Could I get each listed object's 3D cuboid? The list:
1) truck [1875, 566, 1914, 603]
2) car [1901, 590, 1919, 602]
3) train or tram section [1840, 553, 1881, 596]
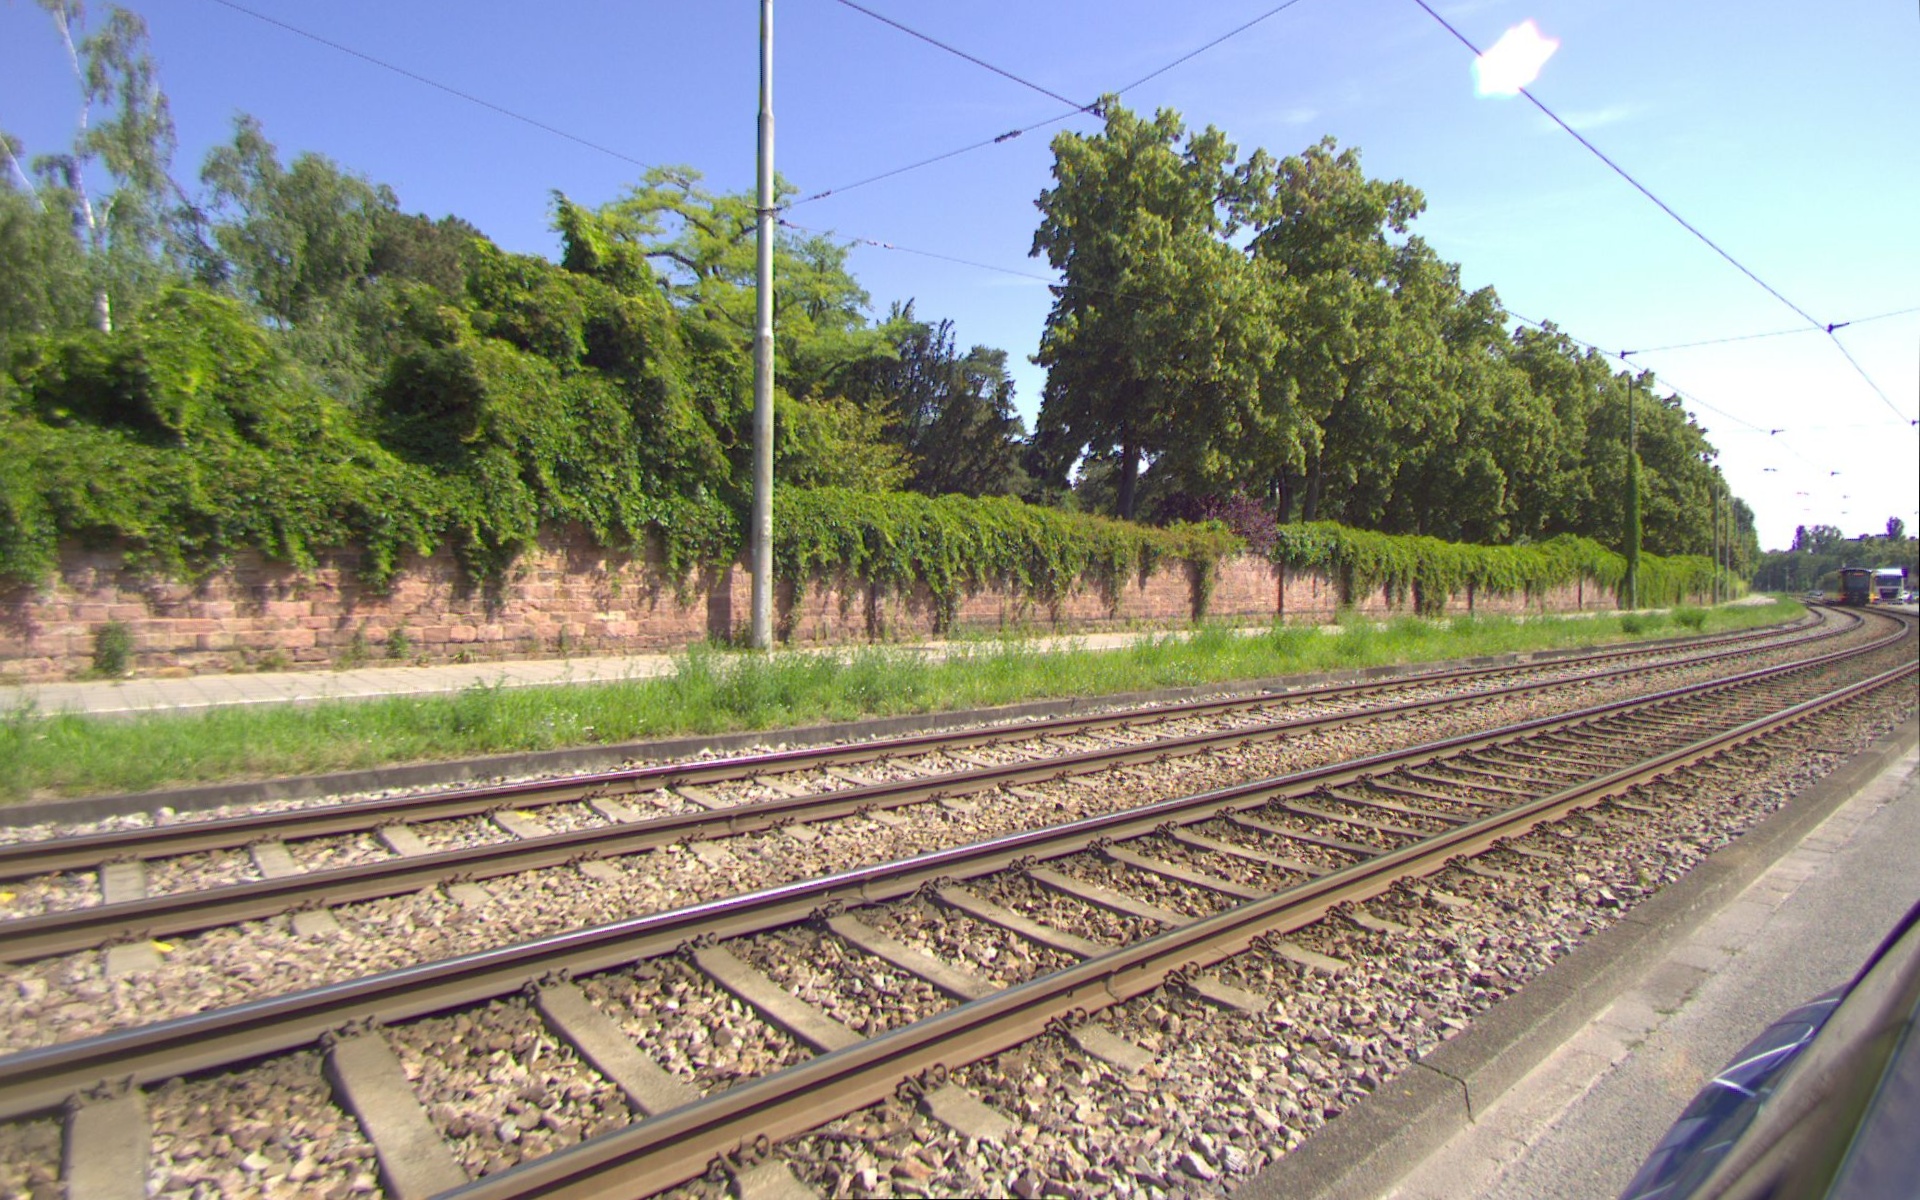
[{"bbox_3d":[104.575,-1.751,113.150,2.799,3.998,11.753,2,2,44],"label":"truck"},{"bbox_3d":[123.566,-0.496,131.566,1.780,1.567,4.325,0,0,43],"label":"car"},{"bbox_3d":[87.156,-2.380,97.833,2.712,3.785,18.588,0,1,43],"label":"train or tram section"}]
